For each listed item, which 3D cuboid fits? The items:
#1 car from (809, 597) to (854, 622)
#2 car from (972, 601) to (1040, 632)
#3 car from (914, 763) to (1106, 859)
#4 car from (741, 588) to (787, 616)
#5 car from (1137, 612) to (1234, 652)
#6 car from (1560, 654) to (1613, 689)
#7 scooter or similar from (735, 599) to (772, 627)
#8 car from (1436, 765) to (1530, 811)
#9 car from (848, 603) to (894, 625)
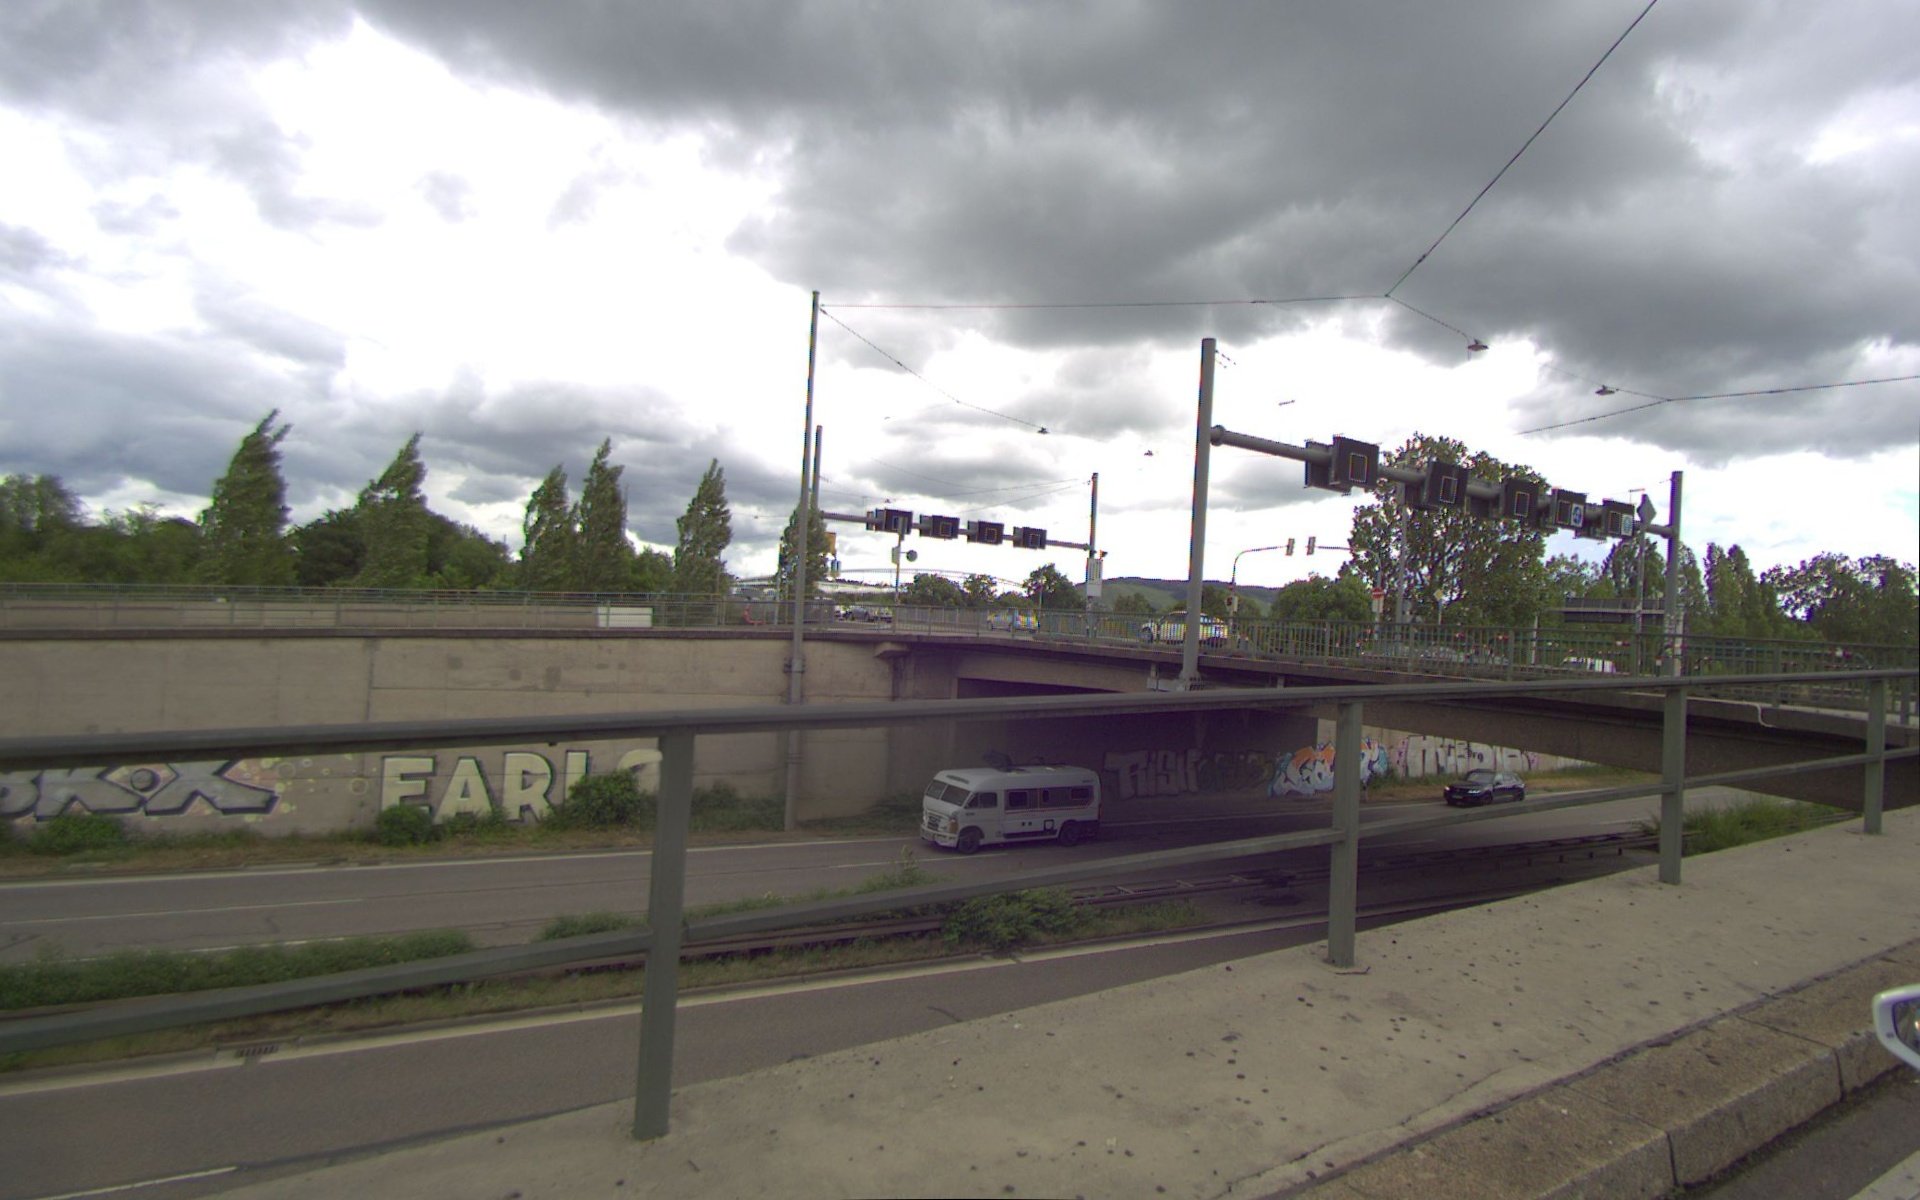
[{"bbox_3d":[-8.362,0.594,65.130,1.560,1.587,3.715,1,0,-31],"label":"car"},{"bbox_3d":[2.635,0.944,58.220,1.918,1.740,3.961,1,-1,-35],"label":"car"},{"bbox_3d":[1.738,6.919,33.553,6.258,2.567,2.072,4,-3,-31],"label":"car"},{"bbox_3d":[-14.615,0.160,74.806,1.711,2.040,4.443,1,0,-35],"label":"car"},{"bbox_3d":[10.507,1.457,47.088,1.917,1.740,4.366,1,-1,-33],"label":"car"},{"bbox_3d":[43.823,5.000,70.249,3.626,2.245,1.843,1,0,-35],"label":"car"},{"bbox_3d":[-8.895,0.565,43.312,1.402,1.108,0.539,3,-2,-34],"label":"scooter or similar"},{"bbox_3d":[25.770,9.220,49.440,4.537,1.774,1.984,4,-2,-30],"label":"car"},{"bbox_3d":[-5.848,0.898,65.702,1.537,1.372,3.860,1,-1,-31],"label":"car"}]
